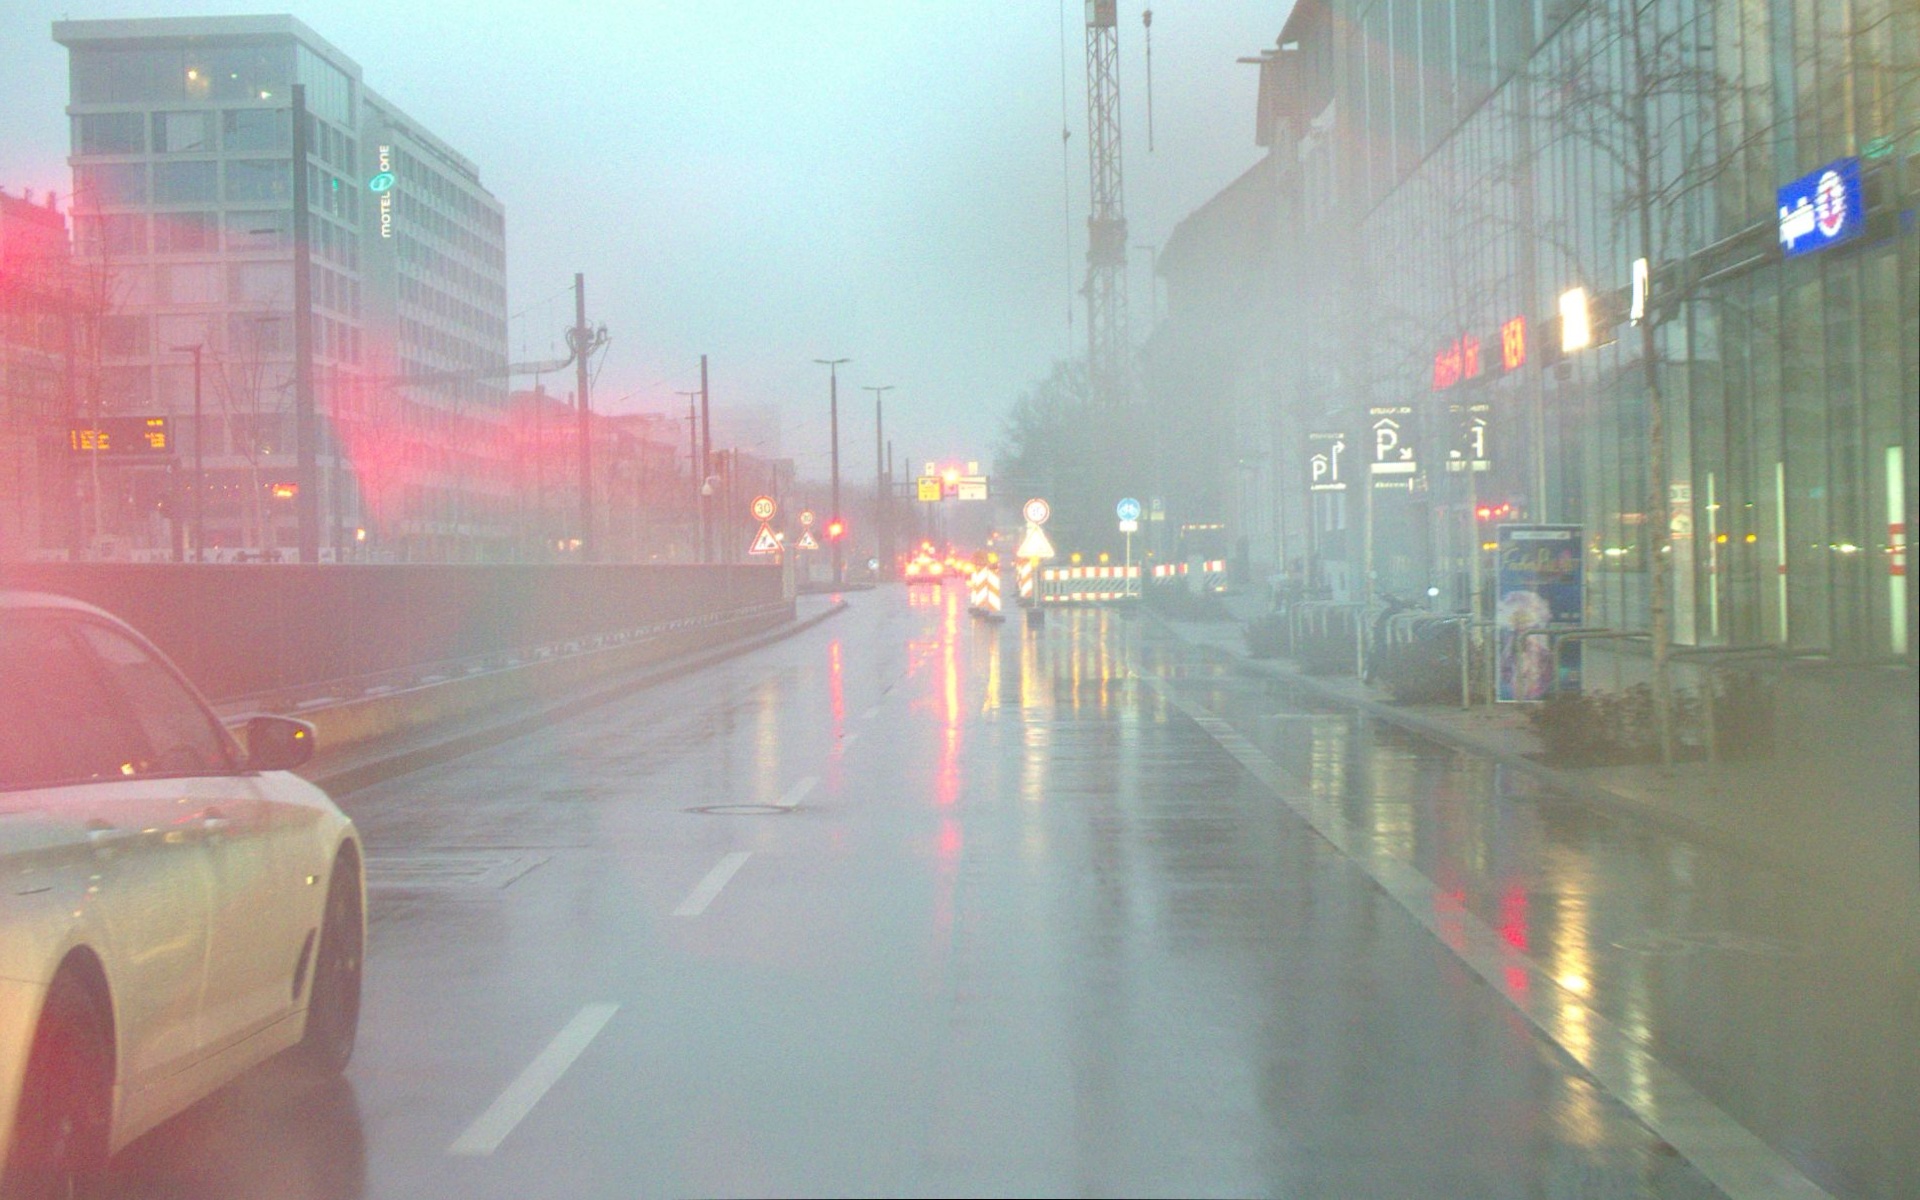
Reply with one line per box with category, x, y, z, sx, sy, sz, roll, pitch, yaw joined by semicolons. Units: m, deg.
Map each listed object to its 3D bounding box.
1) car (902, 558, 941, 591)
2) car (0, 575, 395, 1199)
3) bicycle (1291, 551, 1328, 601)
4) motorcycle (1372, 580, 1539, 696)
car;-1.980;-1.324;176.977;1.901;1.636;4.000;0;1;1
car;-2.700;0.682;8.359;1.852;1.460;4.947;0;1;0
bicycle;8.916;-0.613;87.749;0.682;1.218;1.905;-4;0;0
motorcycle;5.826;0.454;40.487;1.908;1.329;0.594;-1;-1;41
